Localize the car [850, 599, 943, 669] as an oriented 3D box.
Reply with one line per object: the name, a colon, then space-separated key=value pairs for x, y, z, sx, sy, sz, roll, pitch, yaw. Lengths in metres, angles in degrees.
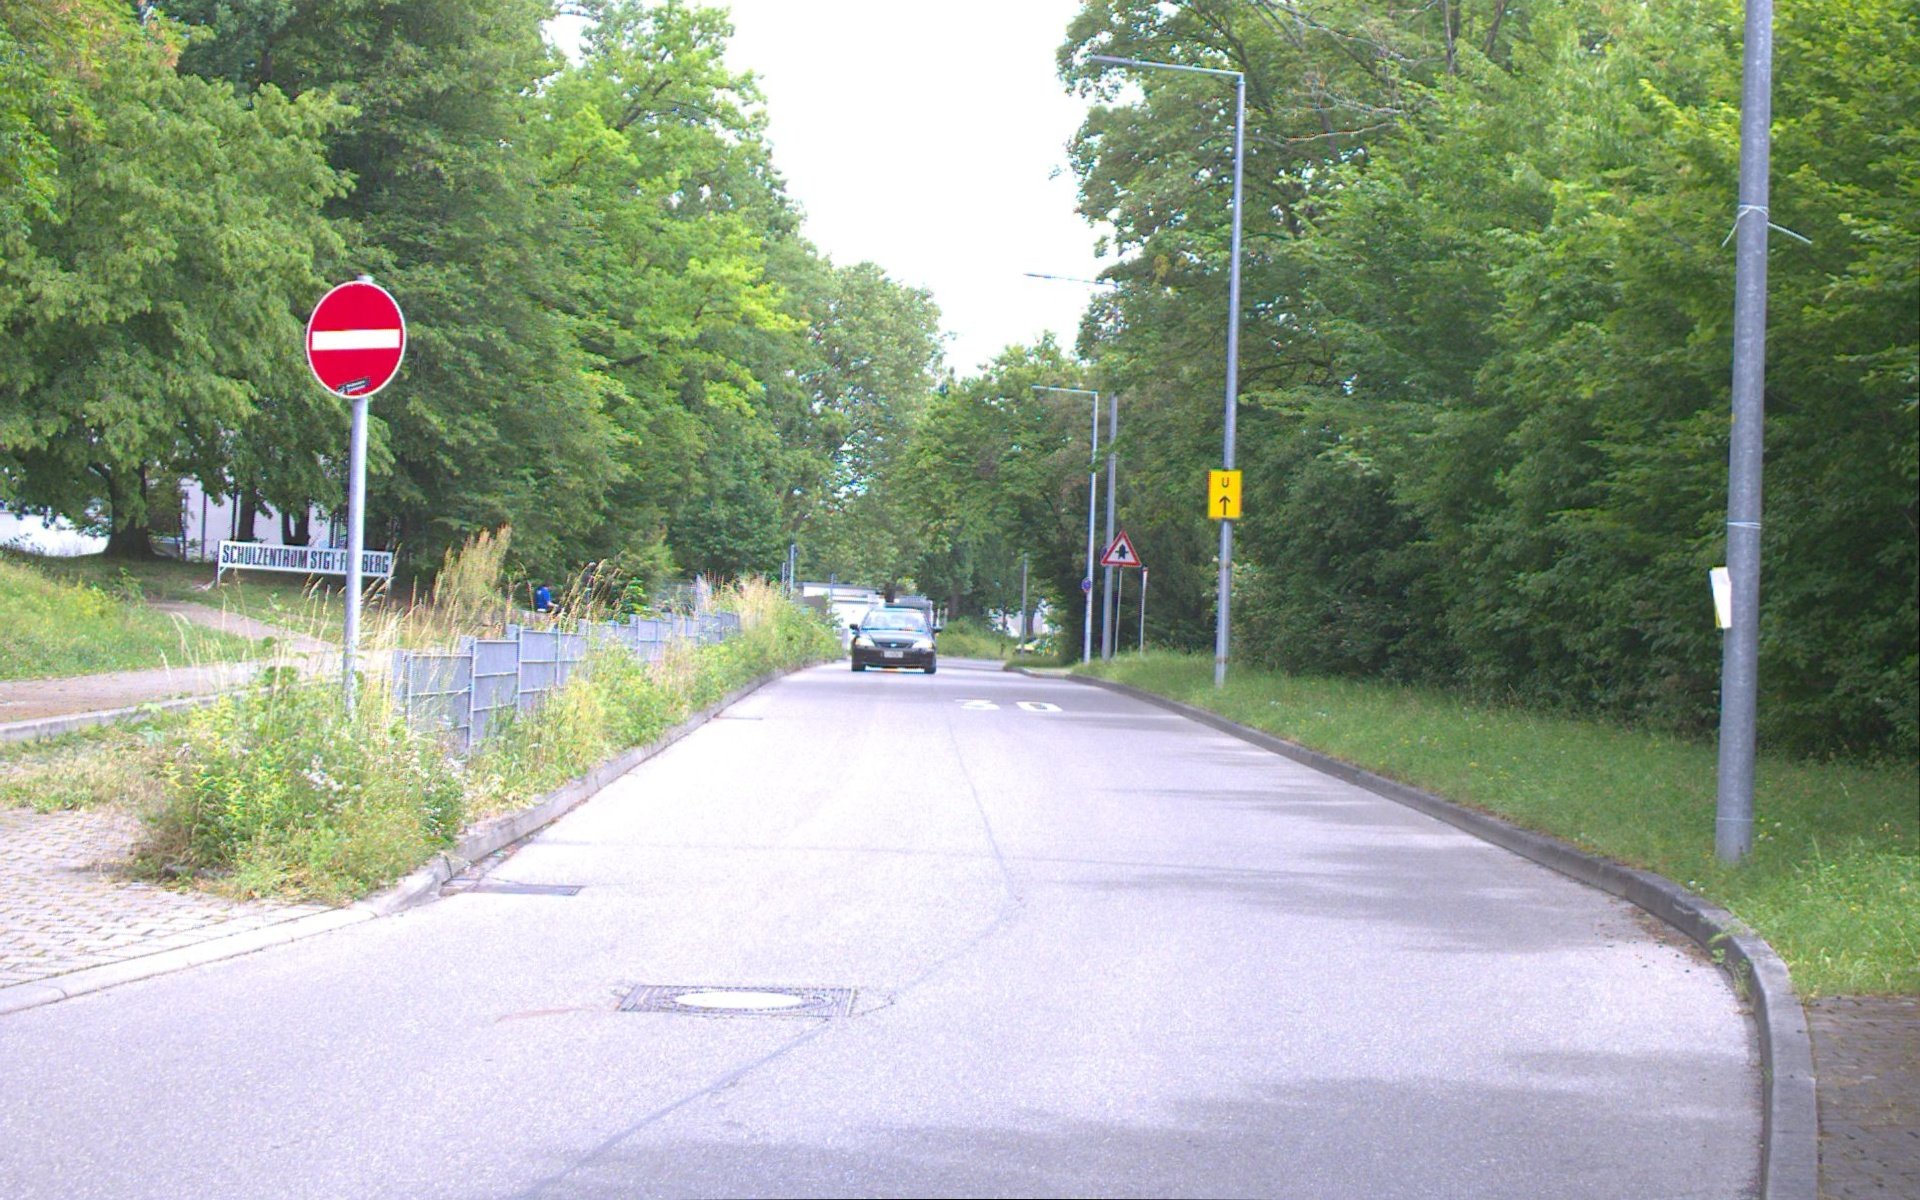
car: x=-1.289 y=0.682 z=71.056 sx=1.693 sy=1.344 sz=4.094 roll=2 pitch=0 yaw=1

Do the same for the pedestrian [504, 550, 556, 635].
pedestrian: x=-10.470 y=-0.165 z=83.731 sx=0.865 sy=2.007 sz=0.878 roll=3 pitch=-4 yaw=-45
